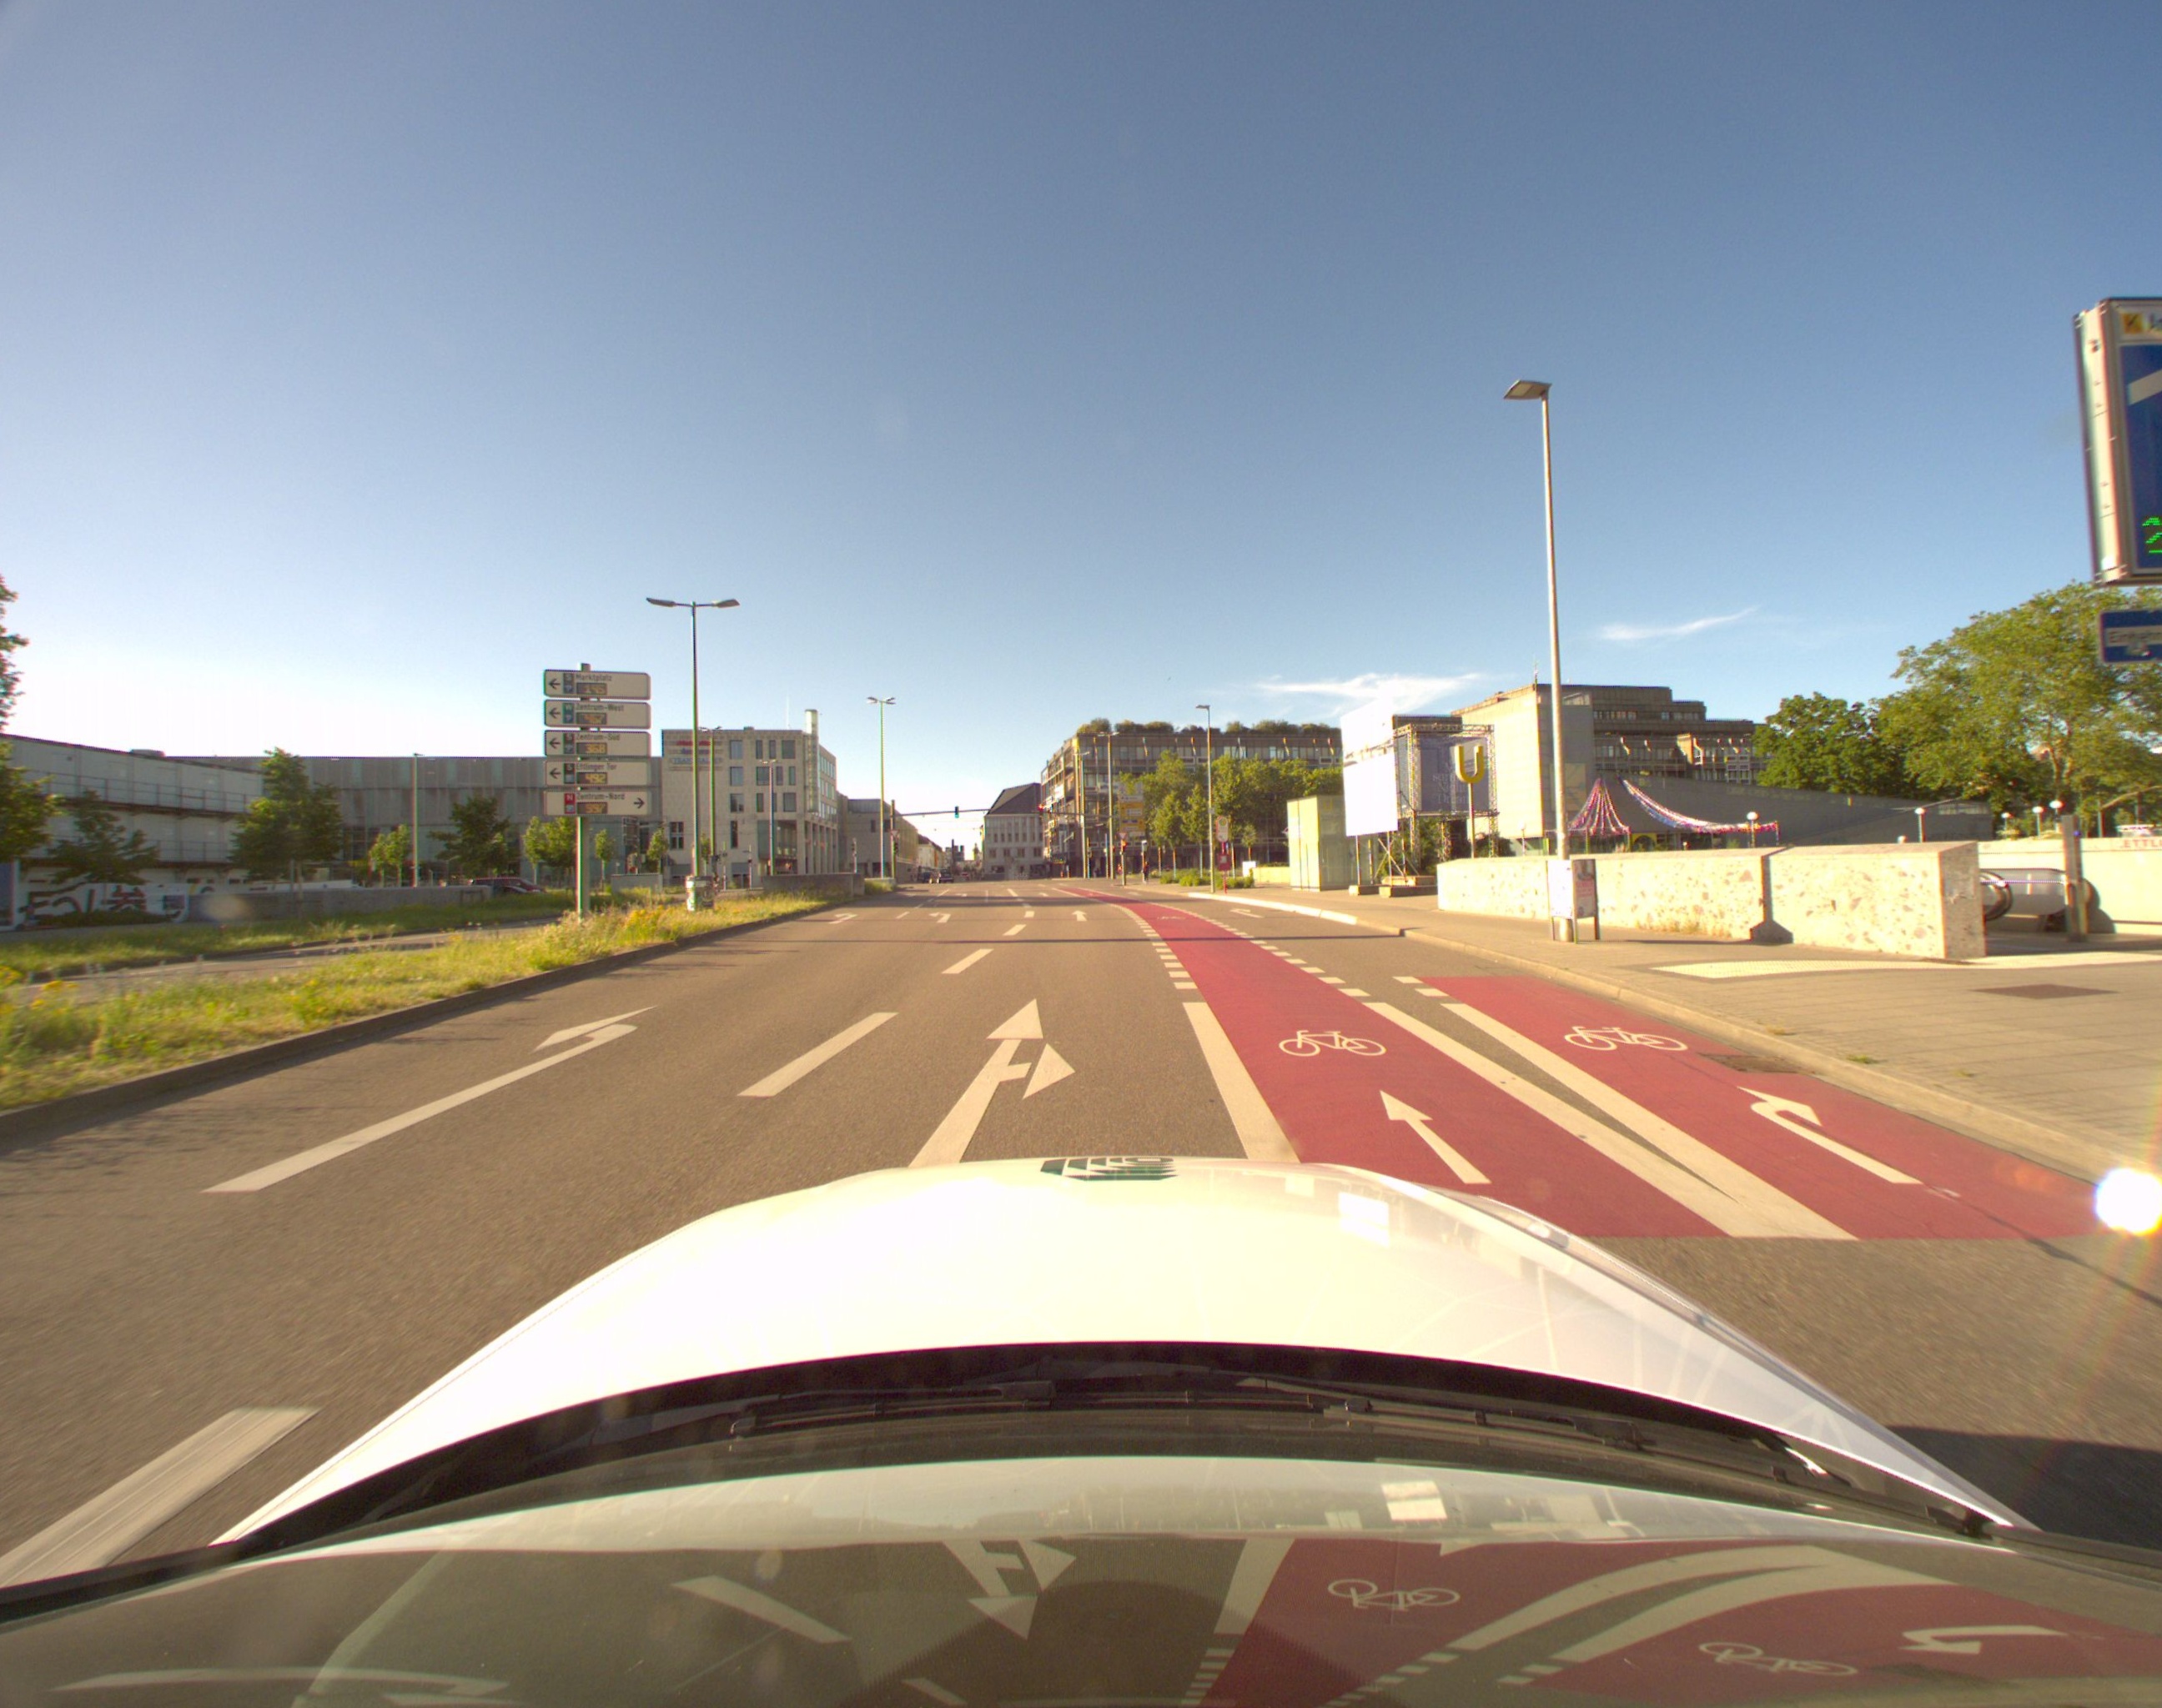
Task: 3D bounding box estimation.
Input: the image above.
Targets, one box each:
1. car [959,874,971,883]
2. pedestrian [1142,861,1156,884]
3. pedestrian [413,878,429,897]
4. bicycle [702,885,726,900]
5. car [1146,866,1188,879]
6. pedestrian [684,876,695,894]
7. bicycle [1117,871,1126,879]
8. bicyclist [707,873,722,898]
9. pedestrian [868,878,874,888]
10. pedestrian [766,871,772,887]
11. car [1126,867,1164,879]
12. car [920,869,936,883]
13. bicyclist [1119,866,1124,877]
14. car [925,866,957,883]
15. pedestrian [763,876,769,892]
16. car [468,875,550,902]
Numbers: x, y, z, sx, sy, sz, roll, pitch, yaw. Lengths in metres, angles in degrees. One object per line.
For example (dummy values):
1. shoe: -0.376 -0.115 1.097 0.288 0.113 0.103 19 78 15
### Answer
1. car: -22.385 4.690 157.168 1.995 1.552 3.982 -1 -1 -13
2. pedestrian: 5.273 1.460 63.105 0.815 1.748 1.046 -3 -2 15
3. pedestrian: -55.490 2.822 68.490 0.802 1.502 0.720 -1 -1 -14
4. bicycle: -22.677 2.349 50.333 0.610 0.862 1.950 -1 -1 -1
5. car: 10.411 2.221 98.405 4.631 1.356 1.993 -1 0 -10
6. pedestrian: -33.890 2.673 70.506 0.723 1.502 0.799 -1 -1 -16
7. bicycle: 4.886 2.589 98.711 1.074 0.971 0.457 -1 -1 -5
8. bicyclist: -22.683 1.926 50.367 0.605 1.489 0.680 -1 -1 -1
9. pedestrian: -33.148 4.529 128.639 0.747 1.608 0.618 -1 -2 -34
10. pedestrian: -40.468 3.245 105.531 0.624 2.014 0.513 -1 -1 -15
11. car: 8.265 2.480 105.820 4.631 1.356 1.993 -1 0 -10
12. car: -22.212 3.180 118.375 1.991 1.742 4.635 -1 0 -7
13. bicyclist: 4.928 2.151 98.731 0.507 1.338 0.452 -1 -1 -4
14. car: -14.085 2.058 81.822 1.789 1.564 3.749 -1 -1 -34
15. pedestrian: -40.761 3.915 105.430 0.624 2.014 0.513 -1 -1 -15
16. car: -42.823 2.567 61.031 4.647 1.810 1.862 -2 -3 -15
